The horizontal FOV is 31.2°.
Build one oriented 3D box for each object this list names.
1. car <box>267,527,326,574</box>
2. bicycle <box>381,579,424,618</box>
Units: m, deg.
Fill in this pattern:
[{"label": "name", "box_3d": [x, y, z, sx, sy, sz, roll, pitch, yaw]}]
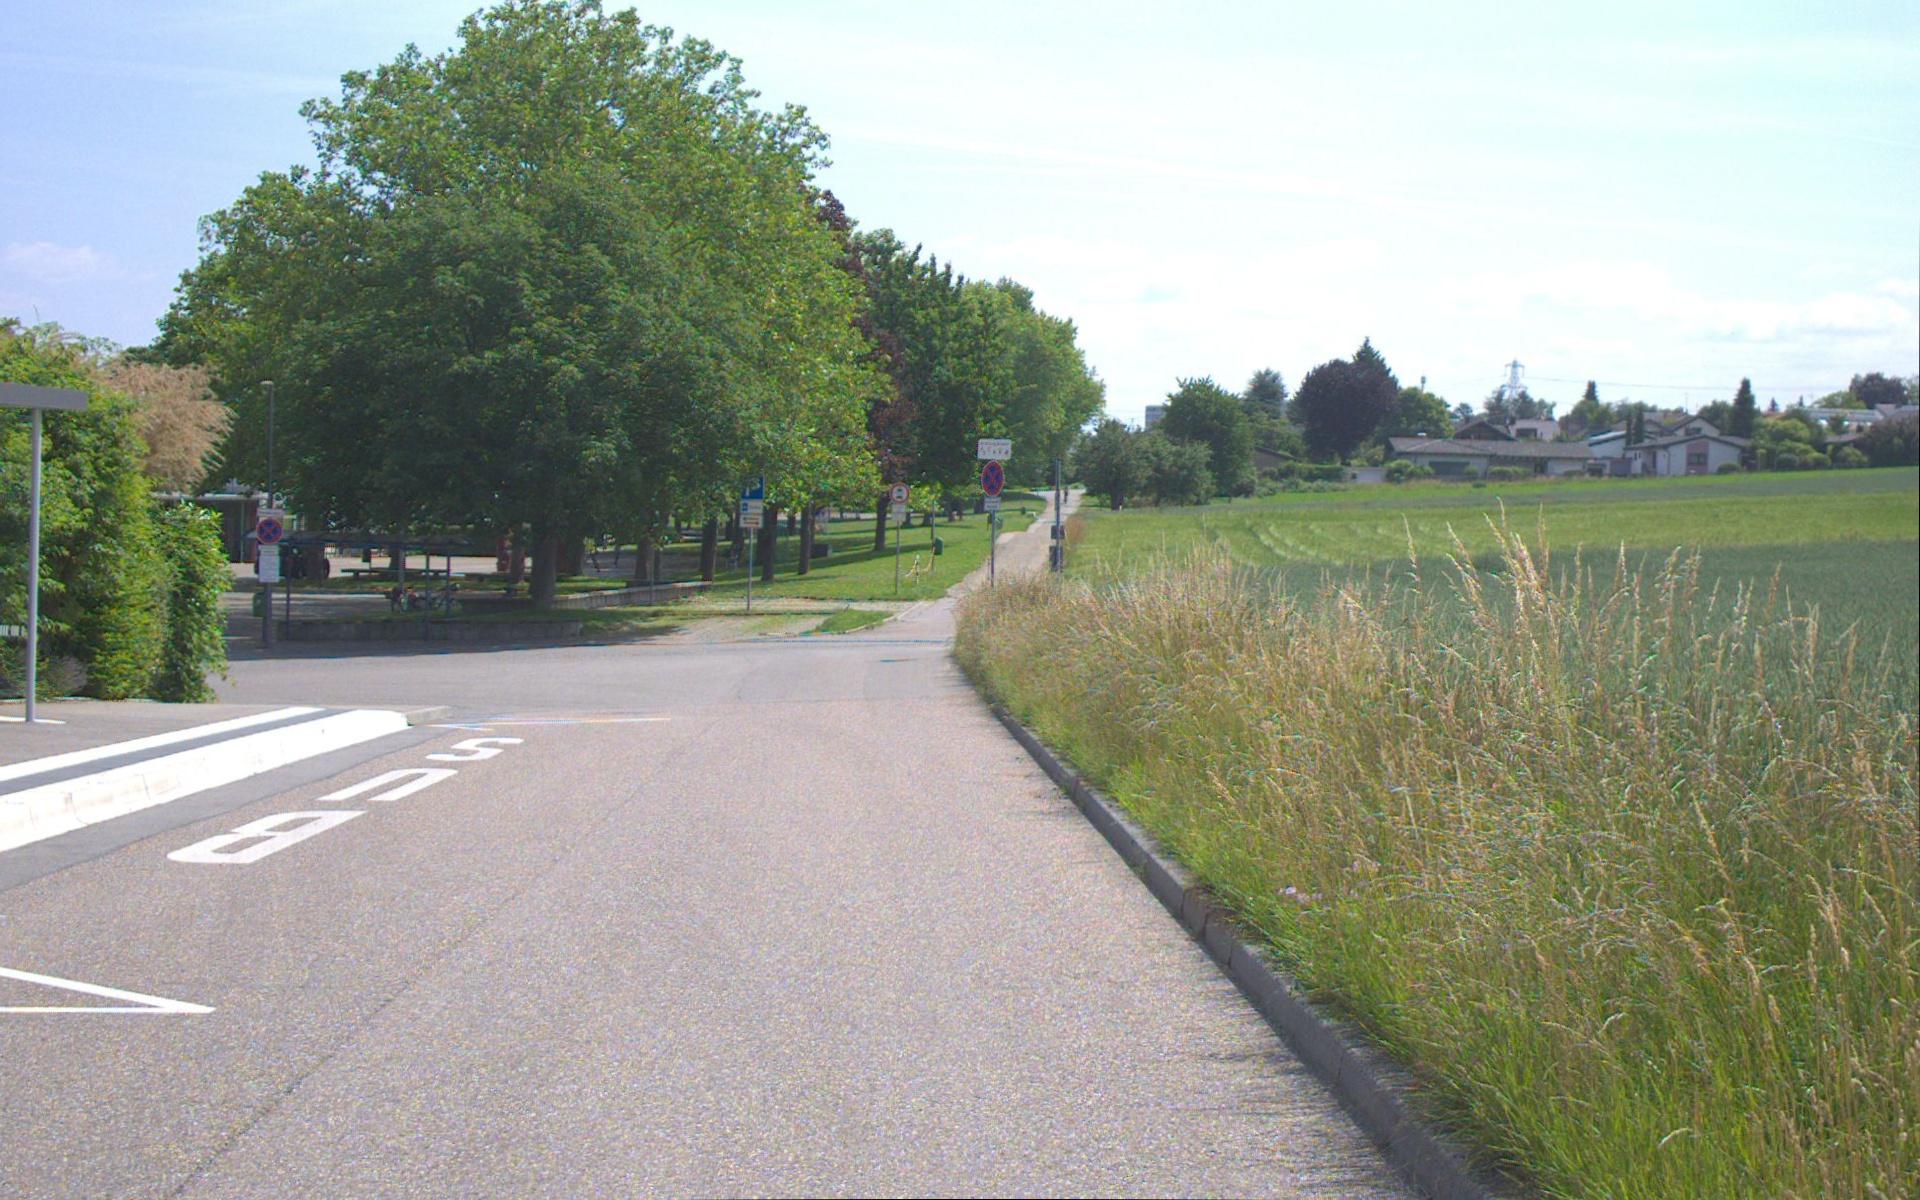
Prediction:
[{"label": "car", "box_3d": [-26.041, -1.952, 134.975, 1.691, 1.828, 3.411, 0, 1, 0]}, {"label": "bicycle", "box_3d": [-15.530, -0.054, 95.845, 0.595, 1.035, 1.892, -1, 1, 9]}]
